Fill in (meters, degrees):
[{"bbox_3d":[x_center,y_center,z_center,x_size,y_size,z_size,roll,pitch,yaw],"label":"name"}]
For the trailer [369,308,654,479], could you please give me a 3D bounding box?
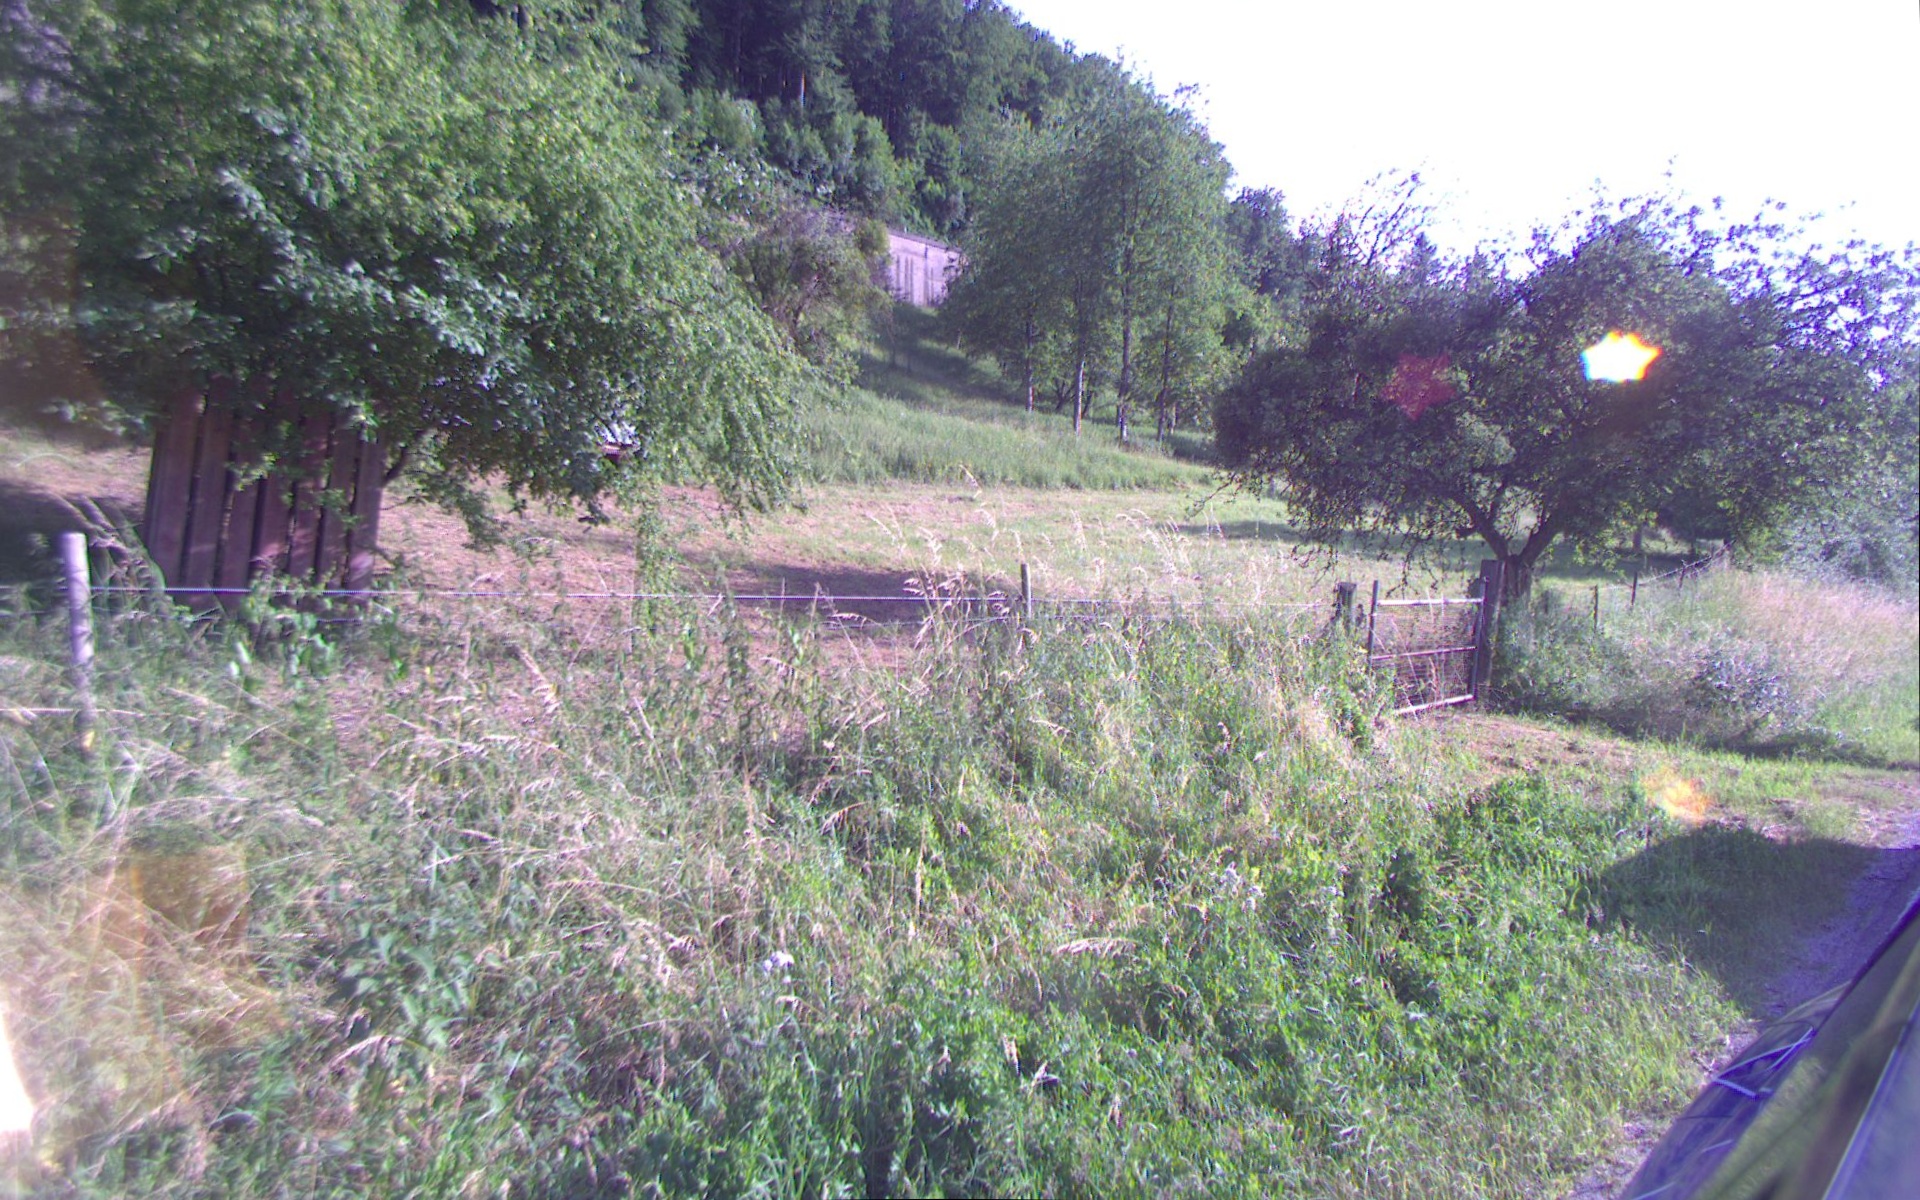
[{"bbox_3d":[-9.695,-4.308,22.194,5.159,2.590,2.155,4,1,-44],"label":"trailer"}]
